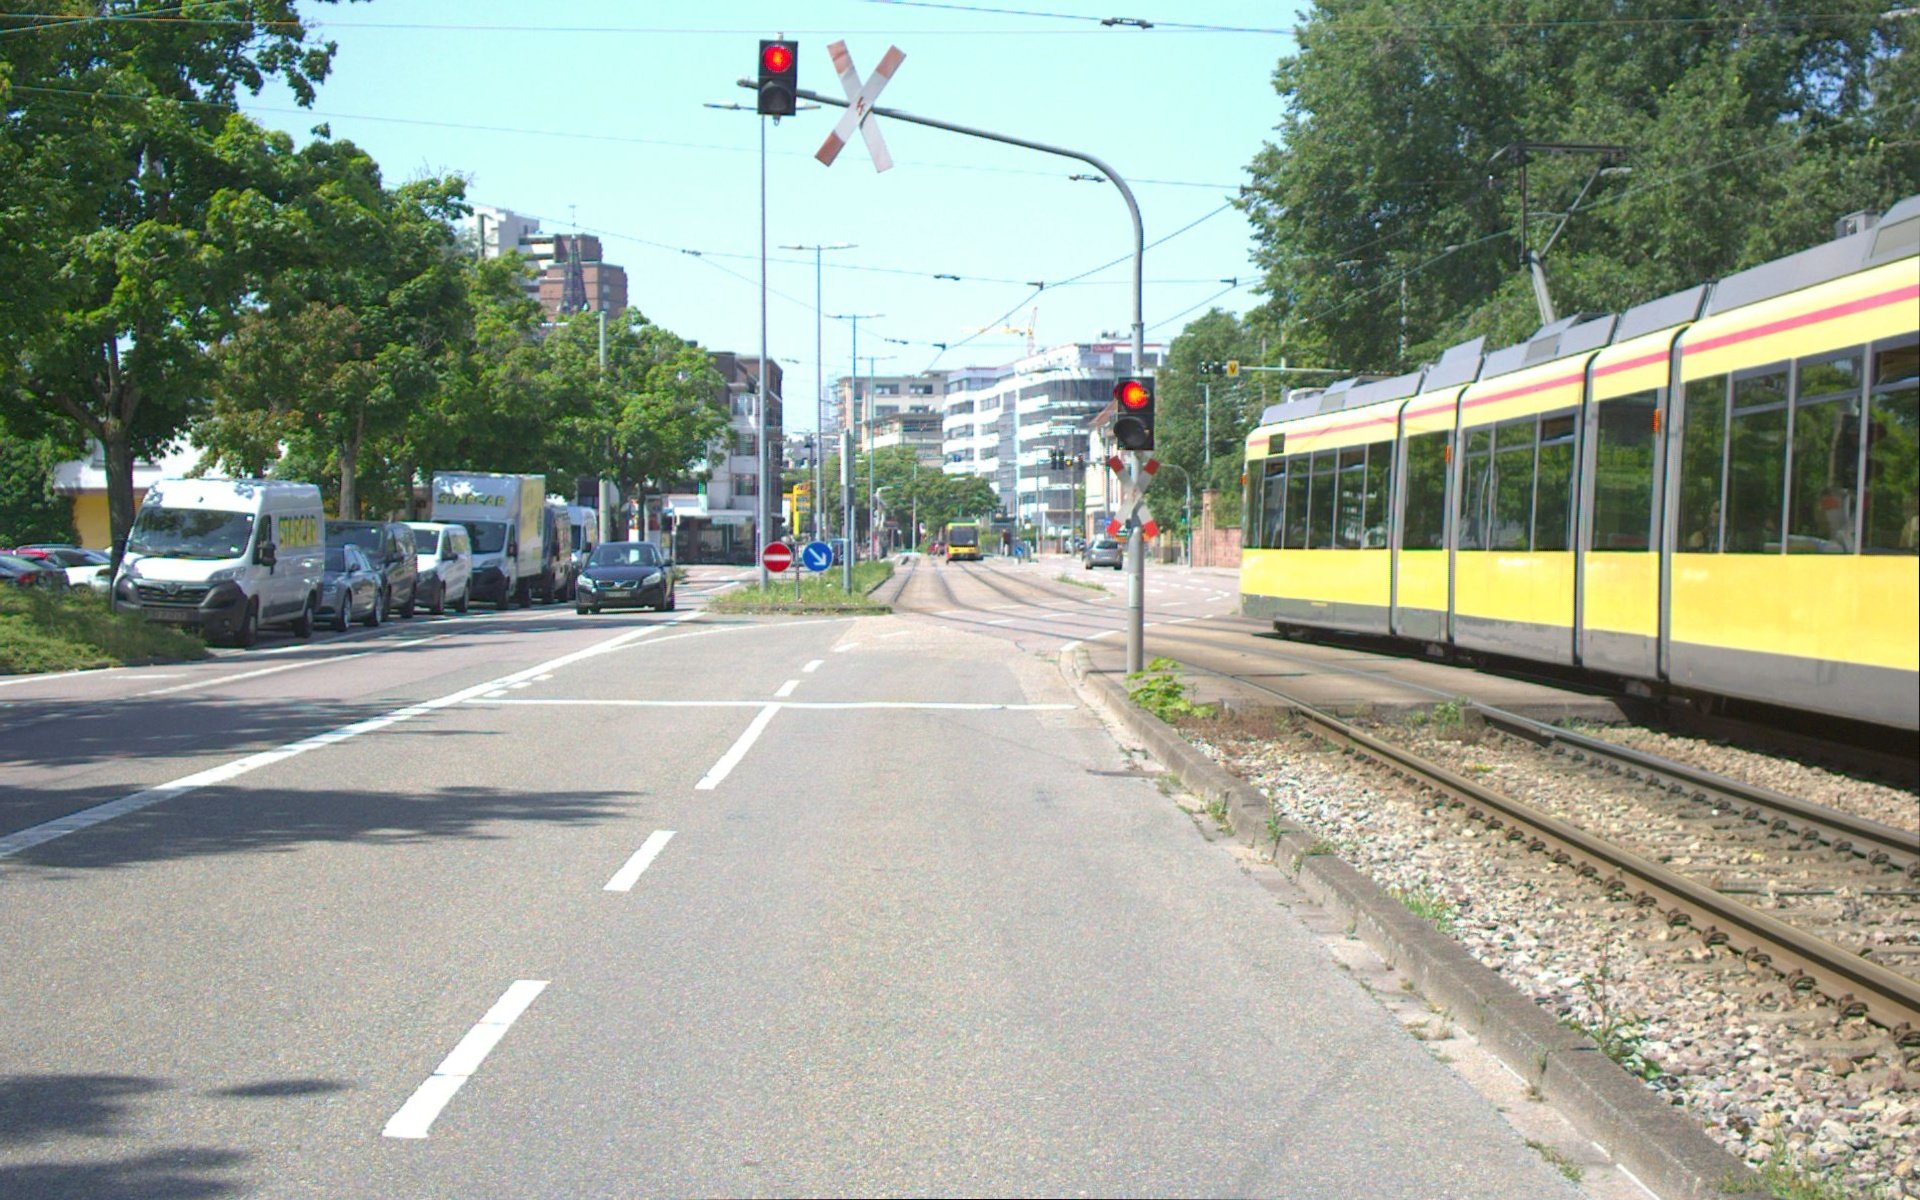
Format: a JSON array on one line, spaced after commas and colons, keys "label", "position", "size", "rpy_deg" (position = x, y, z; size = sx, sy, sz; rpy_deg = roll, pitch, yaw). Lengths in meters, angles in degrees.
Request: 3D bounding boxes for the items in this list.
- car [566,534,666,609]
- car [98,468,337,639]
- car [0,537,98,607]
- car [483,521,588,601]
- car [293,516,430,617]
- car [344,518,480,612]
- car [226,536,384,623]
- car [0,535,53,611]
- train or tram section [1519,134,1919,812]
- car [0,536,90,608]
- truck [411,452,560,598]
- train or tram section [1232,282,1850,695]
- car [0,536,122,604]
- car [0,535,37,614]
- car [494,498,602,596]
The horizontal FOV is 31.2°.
[{"label": "car", "position": [-6.867, -0.597, 68.971], "size": [1.677, 1.393, 4.006], "rpy_deg": [-2, 1, -2]}, {"label": "car", "position": [-11.371, -0.748, 53.119], "size": [2.157, 2.478, 6.193], "rpy_deg": [0, 1, 2]}, {"label": "car", "position": [-22.329, -0.664, 80.212], "size": [3.987, 1.601, 1.805], "rpy_deg": [0, 1, -1]}, {"label": "car", "position": [-10.826, -1.028, 87.976], "size": [2.061, 1.970, 4.871], "rpy_deg": [0, 1, 0]}, {"label": "car", "position": [-11.558, -0.678, 66.623], "size": [1.868, 1.888, 4.271], "rpy_deg": [0, 1, 0]}, {"label": "car", "position": [-11.496, -0.762, 72.470], "size": [2.061, 1.891, 4.871], "rpy_deg": [0, 1, 0]}, {"label": "car", "position": [-11.274, -0.386, 59.448], "size": [1.868, 1.432, 4.343], "rpy_deg": [0, 1, 0]}, {"label": "car", "position": [-21.910, -0.586, 74.595], "size": [3.987, 1.601, 1.805], "rpy_deg": [0, 1, -1]}, {"label": "train or tram section", "position": [6.647, -0.755, 21.929], "size": [2.943, 3.679, 18.391], "rpy_deg": [1, 1, -1]}, {"label": "car", "position": [-21.944, -0.631, 77.932], "size": [3.987, 1.601, 1.805], "rpy_deg": [0, 1, -1]}, {"label": "truck", "position": [-11.141, -1.779, 81.247], "size": [2.157, 3.199, 7.082], "rpy_deg": [3, 1, 2]}, {"label": "train or tram section", "position": [6.052, -1.252, 41.163], "size": [2.943, 3.679, 20.287], "rpy_deg": [1, 1, -3]}, {"label": "car", "position": [-22.355, -0.724, 82.605], "size": [3.987, 1.601, 1.805], "rpy_deg": [0, 1, -1]}, {"label": "car", "position": [-21.131, -0.520, 70.400], "size": [3.987, 1.601, 1.805], "rpy_deg": [0, 1, -1]}, {"label": "car", "position": [-11.484, -1.501, 96.221], "size": [2.157, 2.630, 5.611], "rpy_deg": [0, 1, 2]}]
